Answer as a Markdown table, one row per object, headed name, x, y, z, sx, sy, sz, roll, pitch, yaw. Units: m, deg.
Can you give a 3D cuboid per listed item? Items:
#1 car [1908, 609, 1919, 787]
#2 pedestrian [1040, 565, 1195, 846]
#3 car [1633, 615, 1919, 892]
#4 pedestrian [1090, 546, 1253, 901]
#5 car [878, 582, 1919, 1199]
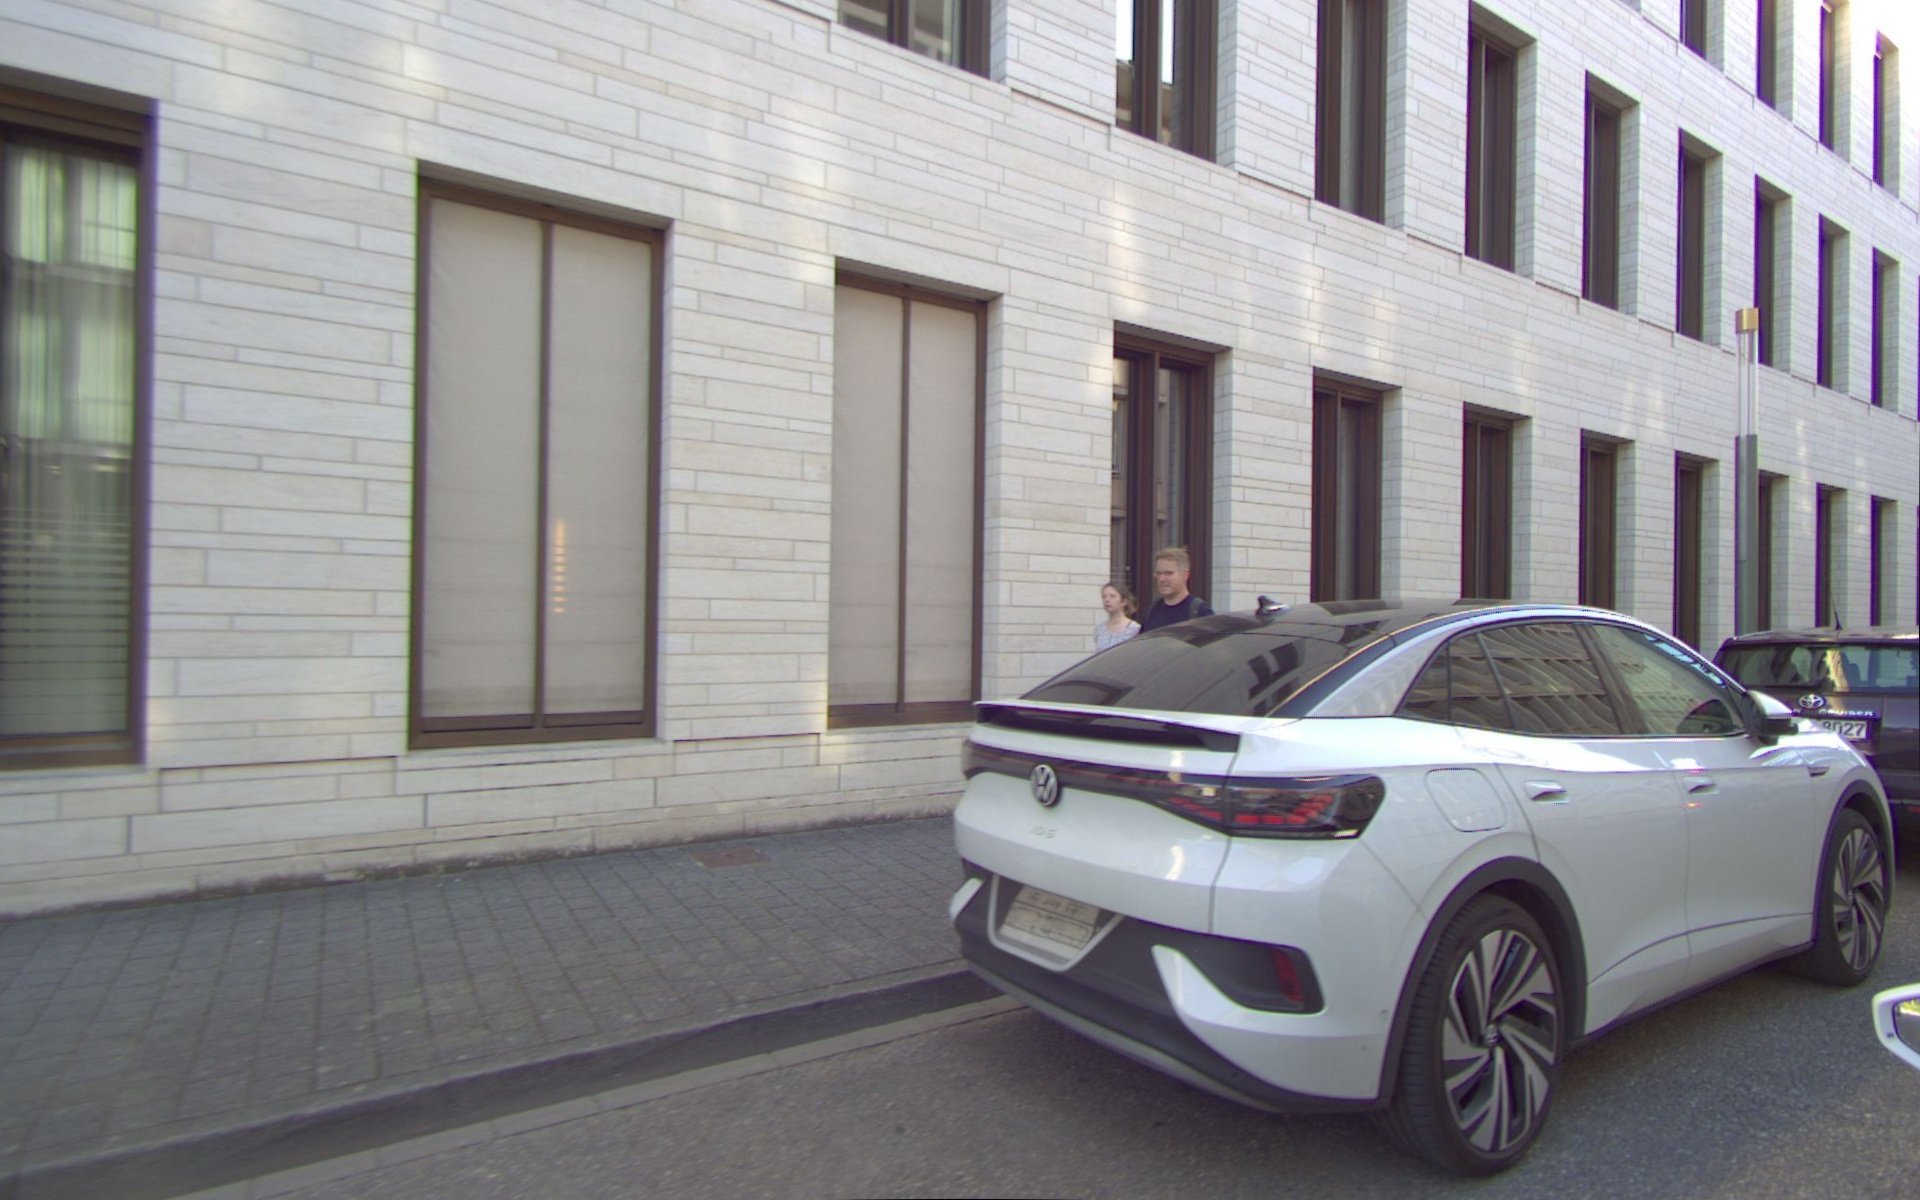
| name | x | y | z | sx | sy | sz | roll | pitch | yaw |
| --- | --- | --- | --- | --- | --- | --- | --- | --- | --- |
| car | 11.473 | 0.936 | 10.176 | 3.975 | 1.737 | 1.812 | 1 | -3 | -33 |
| pedestrian | 1.092 | 0.694 | 6.977 | 0.808 | 1.813 | 0.640 | 2 | -1 | -32 |
| car | 6.877 | 0.908 | 7.313 | 4.218 | 1.562 | 1.812 | 1 | -1 | -33 |
| pedestrian | 1.160 | 0.639 | 5.555 | 0.569 | 1.813 | 0.638 | 2 | -1 | -32 |
| car | 2.035 | 0.758 | 4.141 | 4.397 | 1.562 | 1.812 | 1 | 1 | -32 |
